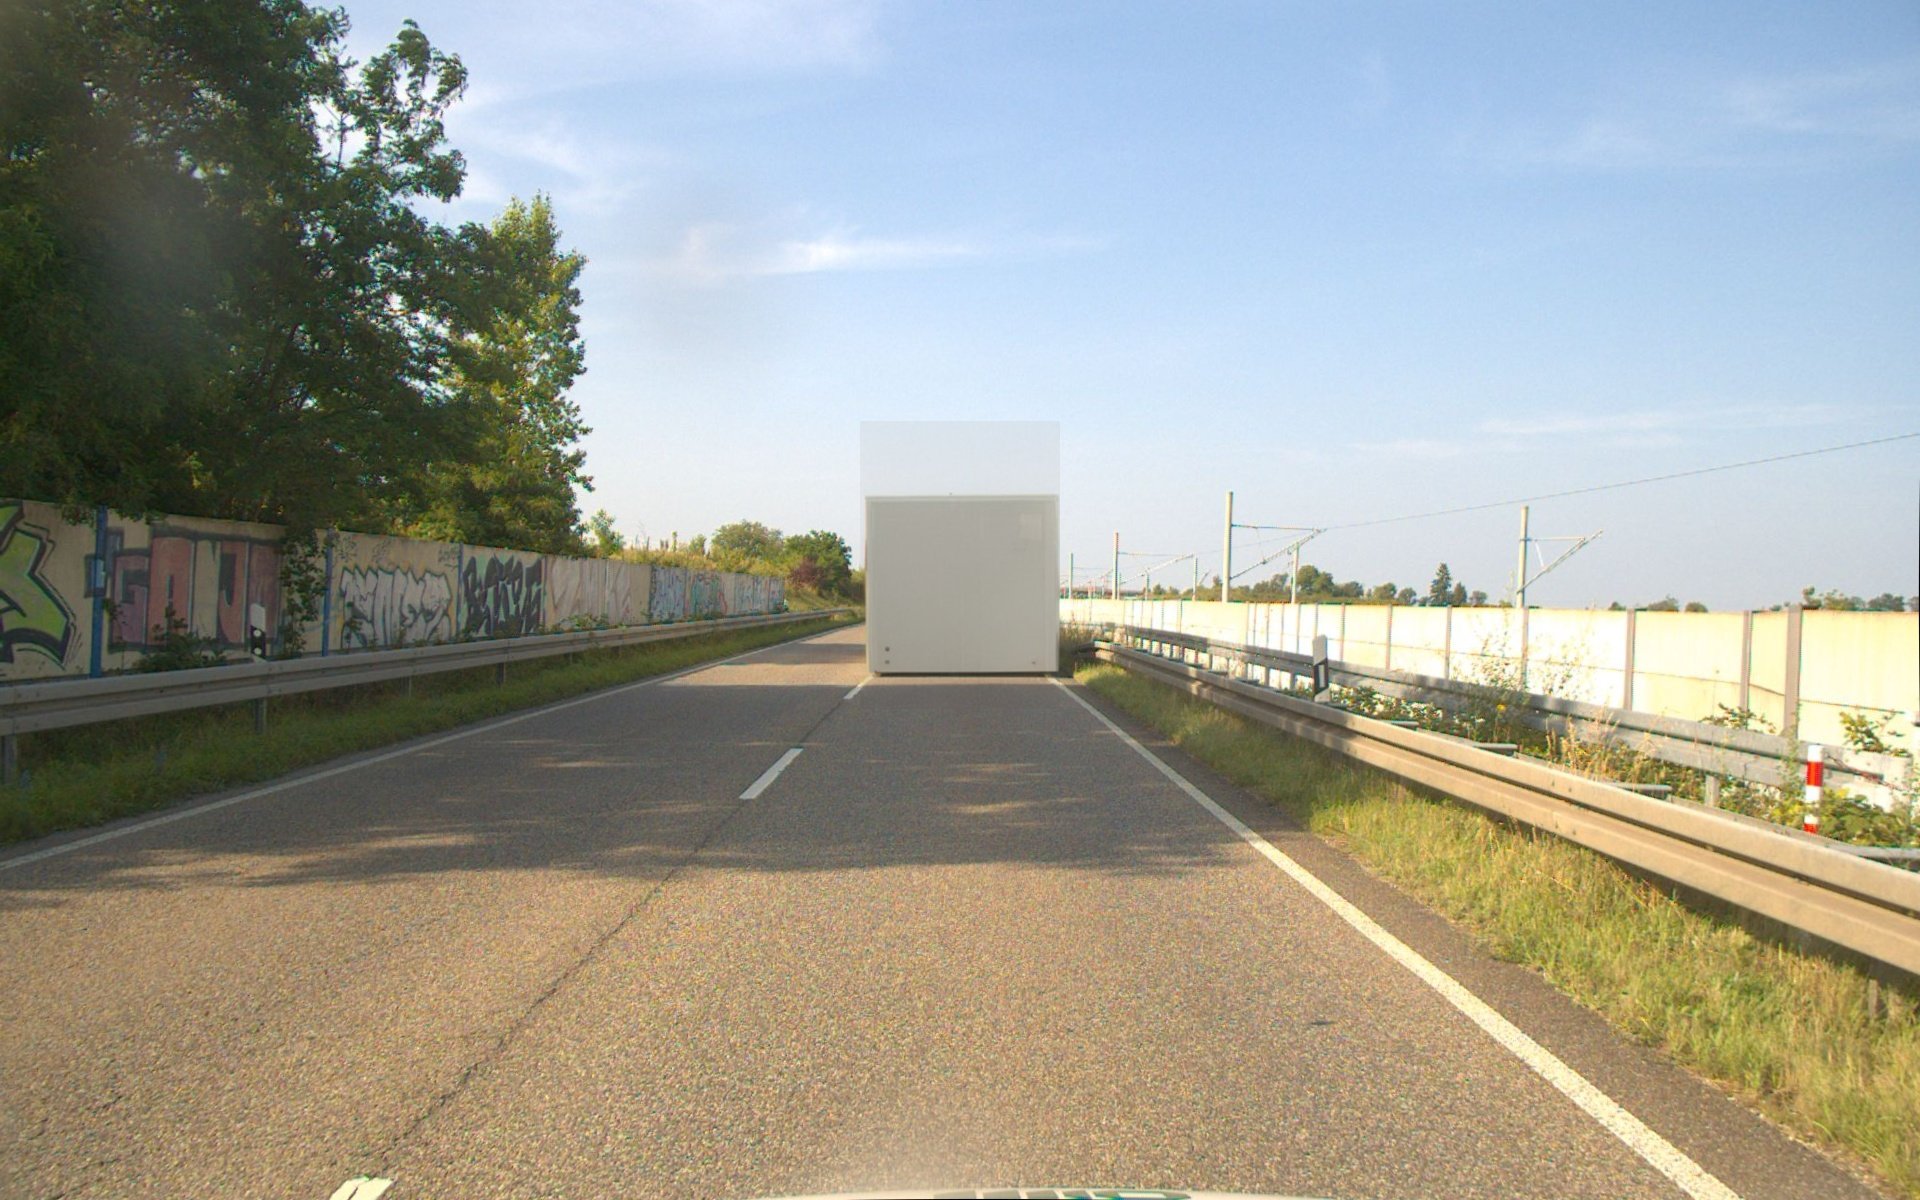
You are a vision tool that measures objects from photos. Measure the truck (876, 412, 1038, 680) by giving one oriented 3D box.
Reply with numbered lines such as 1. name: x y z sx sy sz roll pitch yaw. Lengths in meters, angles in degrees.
1. truck: -0.167 -1.032 37.244 2.971 5.006 11.681 1 0 -1
